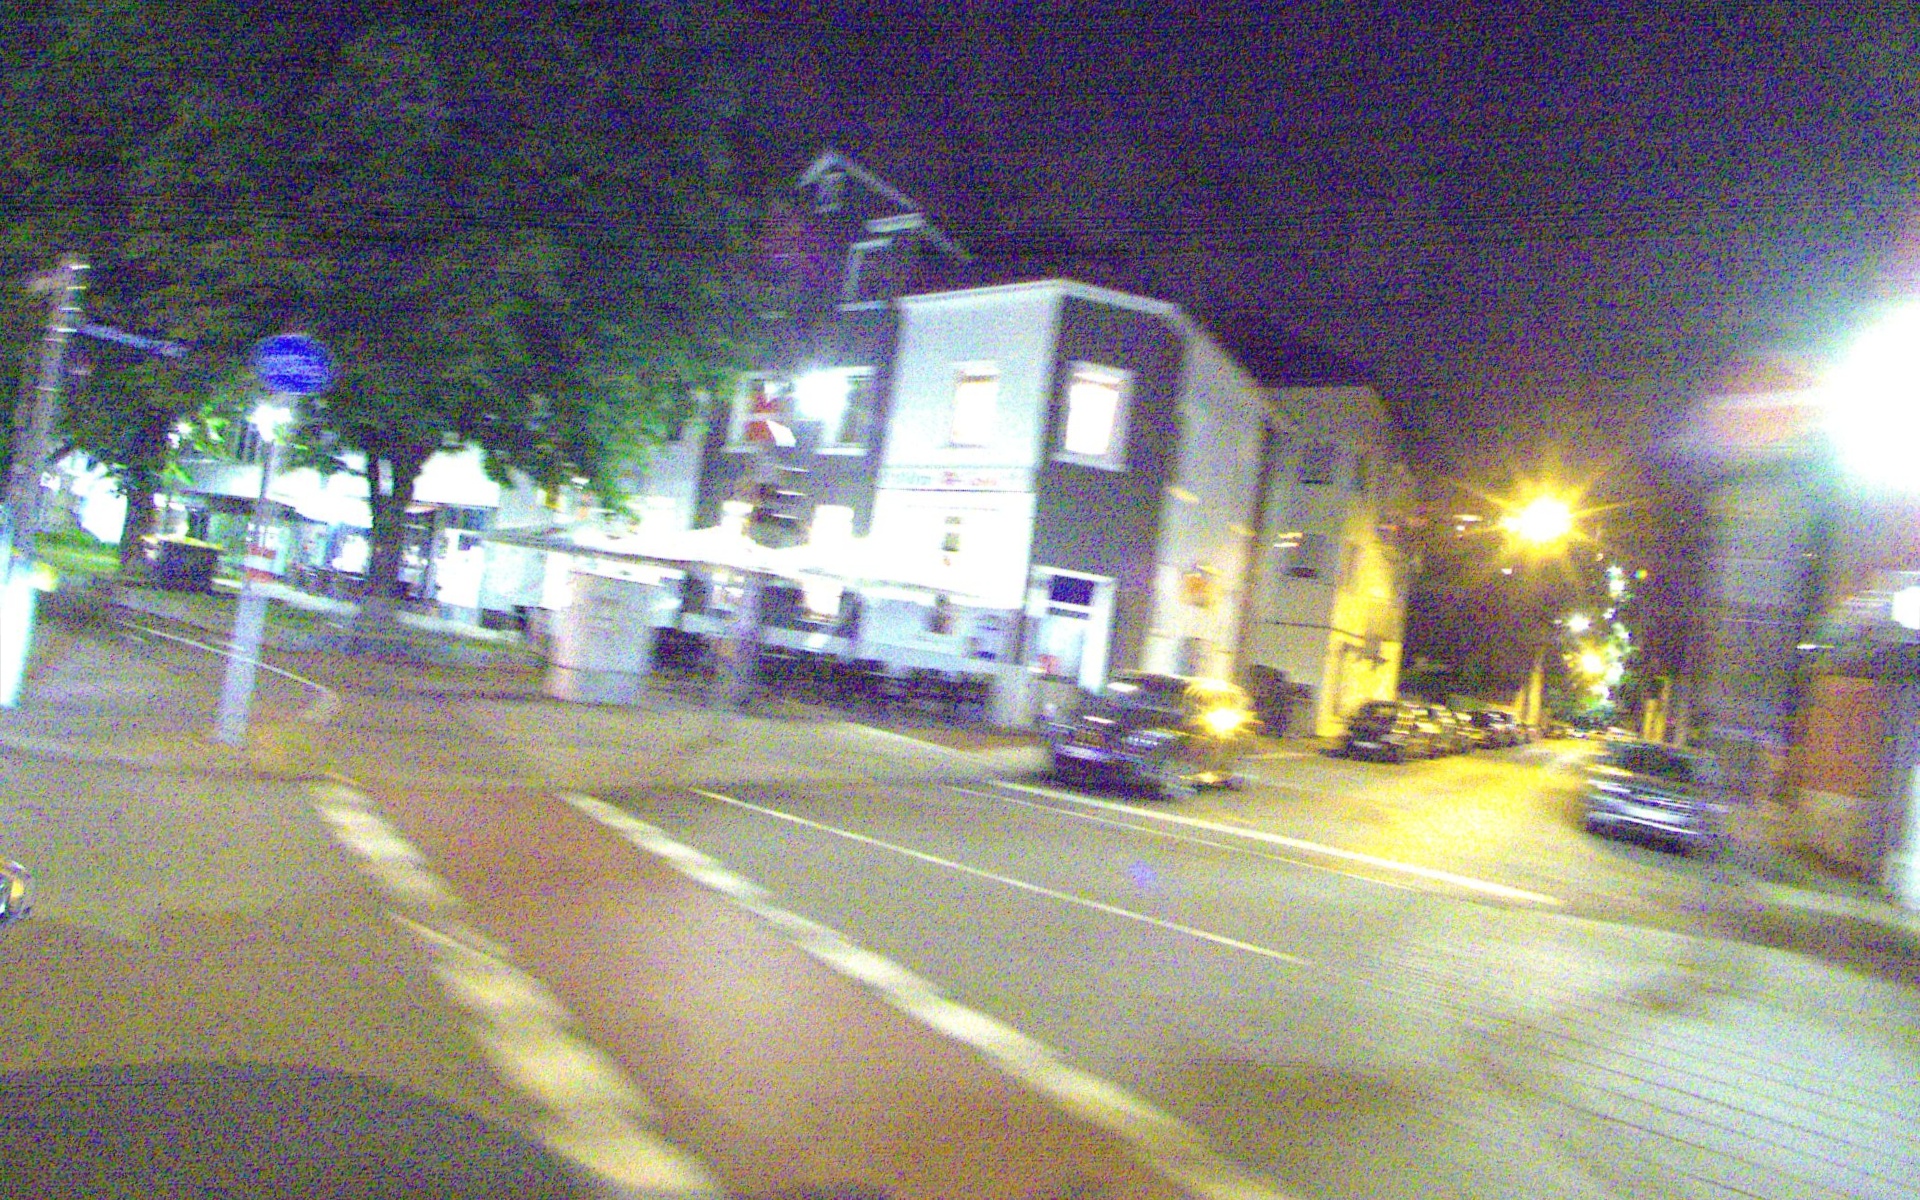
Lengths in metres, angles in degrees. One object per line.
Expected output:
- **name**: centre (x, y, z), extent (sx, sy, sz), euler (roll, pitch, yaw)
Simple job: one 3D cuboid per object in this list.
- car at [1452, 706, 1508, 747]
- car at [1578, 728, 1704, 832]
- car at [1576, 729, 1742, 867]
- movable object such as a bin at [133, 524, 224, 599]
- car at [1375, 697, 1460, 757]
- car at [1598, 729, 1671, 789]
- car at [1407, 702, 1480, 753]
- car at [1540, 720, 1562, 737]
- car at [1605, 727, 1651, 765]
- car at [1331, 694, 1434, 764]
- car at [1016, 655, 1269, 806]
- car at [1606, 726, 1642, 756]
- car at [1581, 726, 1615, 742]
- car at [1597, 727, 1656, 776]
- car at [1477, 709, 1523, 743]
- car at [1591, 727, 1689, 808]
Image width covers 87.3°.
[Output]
- **car**: centre (23.986, 5.830, 46.319), extent (1.775, 1.567, 4.150), euler (4, -4, 33)
- **car**: centre (13.932, 3.585, 20.709), extent (1.774, 1.568, 4.149), euler (9, -1, 33)
- **car**: centre (11.143, 3.040, 16.225), extent (1.774, 1.568, 4.149), euler (9, -1, 33)
- **movable object such as a bin**: centre (-17.140, -0.842, 22.073), extent (0.977, 1.386, 1.163), euler (7, -3, 33)
- **car**: centre (14.593, 4.028, 31.977), extent (1.775, 1.567, 4.150), euler (4, -4, 33)
- **car**: centre (22.985, 5.374, 34.357), extent (1.774, 1.568, 4.149), euler (9, -1, 33)
- **car**: centre (17.714, 4.656, 36.758), extent (1.775, 1.567, 4.150), euler (4, -4, 33)
- **car**: centre (63.697, 13.816, 108.458), extent (1.775, 1.567, 4.150), euler (4, -4, 33)
- **car**: centre (34.775, 7.583, 52.424), extent (1.774, 1.568, 4.149), euler (8, -1, 33)
- **car**: centre (11.553, 3.491, 27.340), extent (1.775, 1.567, 4.150), euler (4, -4, 33)
- **car**: centre (2.685, 1.772, 13.883), extent (1.774, 1.548, 4.323), euler (6, -3, 33)
- **car**: centre (43.838, 9.260, 66.475), extent (1.774, 1.568, 4.149), euler (9, -1, 33)
- **car**: centre (86.831, 18.243, 136.948), extent (3.728, 1.413, 1.468), euler (9, 0, 28)
- **car**: centre (27.801, 6.283, 42.027), extent (1.774, 1.568, 4.149), euler (9, -1, 33)
- **car**: centre (29.292, 6.832, 54.507), extent (1.775, 1.567, 4.150), euler (4, -4, 33)
- **car**: centre (17.661, 4.284, 26.246), extent (1.774, 1.568, 4.149), euler (9, -1, 33)
